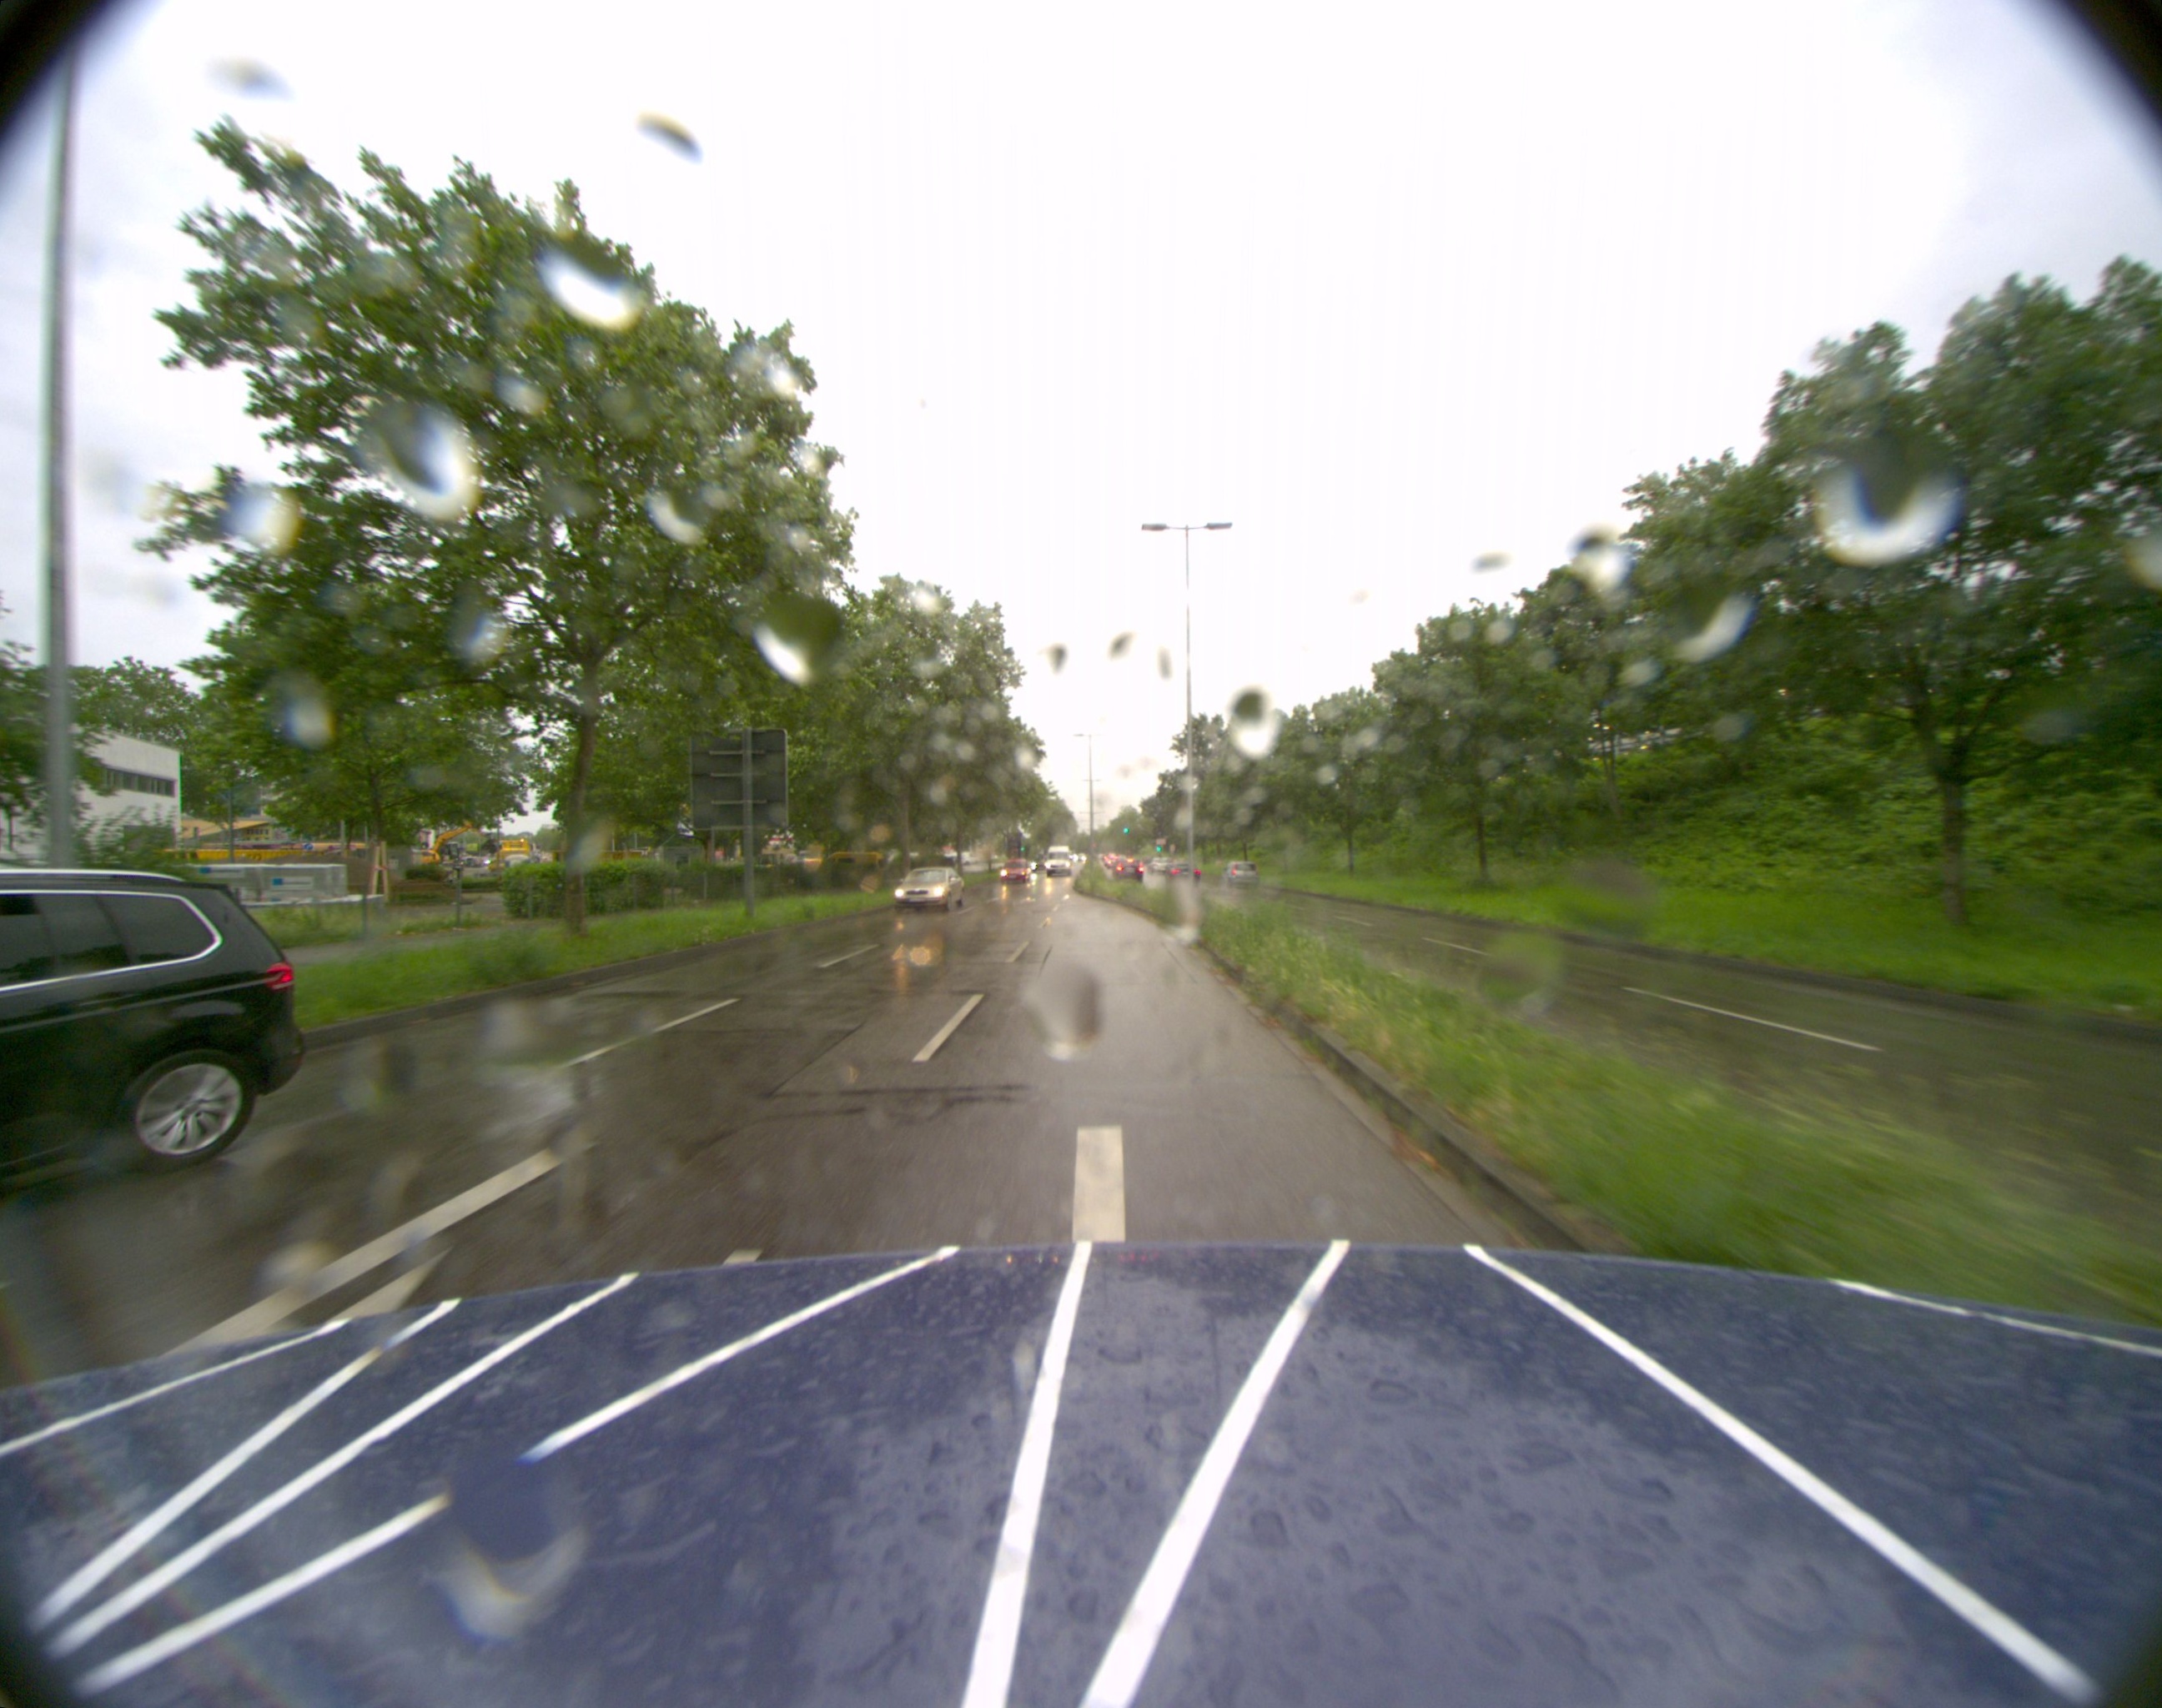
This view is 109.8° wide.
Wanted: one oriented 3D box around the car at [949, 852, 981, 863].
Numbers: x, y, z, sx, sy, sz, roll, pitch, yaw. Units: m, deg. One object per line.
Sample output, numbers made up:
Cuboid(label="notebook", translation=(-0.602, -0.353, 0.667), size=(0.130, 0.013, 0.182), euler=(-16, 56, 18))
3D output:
Cuboid(label="car", translation=(-17.936, 0.466, 117.541), size=(4.470, 1.663, 1.863), euler=(0, 1, -37))

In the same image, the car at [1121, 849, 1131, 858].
Cuboid(label="car", translation=(9.471, -0.089, 160.994), size=(1.998, 1.678, 4.709), euler=(1, 0, 2))

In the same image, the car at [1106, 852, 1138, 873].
Cuboid(label="car", translation=(3.251, 0.620, 60.920), size=(1.914, 1.565, 4.706), euler=(1, 0, -5))

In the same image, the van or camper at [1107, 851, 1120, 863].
Cuboid(label="van or camper", translation=(4.879, 0.454, 115.602), size=(1.733, 1.732, 3.999), euler=(2, 1, 0))

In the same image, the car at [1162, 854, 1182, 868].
Cuboid(label="car", translation=(10.273, 0.757, 86.325), size=(1.840, 1.493, 4.440), euler=(1, 0, 2))

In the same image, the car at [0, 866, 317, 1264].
Cuboid(label="car", translation=(-5.712, 0.979, 2.607), size=(1.861, 1.716, 4.190), euler=(-2, 1, 0))

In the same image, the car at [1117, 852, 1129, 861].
Cuboid(label="car", translation=(7.719, 0.425, 140.602), size=(1.998, 1.678, 4.709), euler=(1, 0, 2))

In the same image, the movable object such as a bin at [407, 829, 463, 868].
Cuboid(label="movable object such as a bin", translation=(-62.554, -0.542, 73.621), size=(3.602, 3.605, 3.326), euler=(0, 1, 36))

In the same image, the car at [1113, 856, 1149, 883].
Cuboid(label="car", translation=(3.206, 0.988, 49.647), size=(1.829, 1.566, 4.358), euler=(2, 1, -2))

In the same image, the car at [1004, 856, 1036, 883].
Cuboid(label="car", translation=(-4.192, 1.046, 53.134), size=(1.699, 1.759, 4.558), euler=(-1, 0, 2))

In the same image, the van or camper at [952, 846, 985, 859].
Cuboid(label="van or camper", translation=(-18.007, -0.301, 121.583), size=(4.917, 2.076, 1.863), euler=(0, 1, -37))

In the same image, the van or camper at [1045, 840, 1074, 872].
Cuboid(label="van or camper", translation=(-1.824, 0.136, 66.205), size=(2.100, 2.579, 4.776), euler=(-2, 0, 2))

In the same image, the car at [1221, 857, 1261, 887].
Cuboid(label="car", translation=(9.400, 1.011, 44.851), size=(1.700, 1.608, 3.848), euler=(-1, 0, 2))

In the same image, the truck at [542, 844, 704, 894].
Cuboid(label="truck", translation=(-32.395, 0.914, 54.063), size=(9.517, 3.015, 3.073), euler=(-3, 2, -34))

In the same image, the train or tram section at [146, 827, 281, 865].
Cuboid(label="train or tram section", translation=(-87.651, -0.884, 77.024), size=(8.546, 3.500, 2.394), euler=(-3, 2, -37))

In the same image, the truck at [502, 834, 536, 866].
Cuboid(label="truck", translation=(-62.316, -0.480, 84.428), size=(2.501, 3.327, 9.444), euler=(-3, 2, -34))

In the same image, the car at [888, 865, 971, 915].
Cuboid(label="car", translation=(-5.016, 1.160, 25.738), size=(1.807, 1.422, 4.386), euler=(-1, 1, 2))

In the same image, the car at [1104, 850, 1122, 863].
Cuboid(label="car", translation=(4.327, 0.308, 102.861), size=(1.904, 1.604, 4.110), euler=(2, 1, -3))

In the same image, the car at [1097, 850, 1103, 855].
Cuboid(label="car", translation=(6.326, -0.525, 250.035), size=(1.780, 1.552, 3.773), euler=(-2, 1, 2))

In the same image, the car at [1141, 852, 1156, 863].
Cuboid(label="car", translation=(10.197, 0.537, 115.096), size=(1.998, 1.678, 4.709), euler=(1, 0, 2))

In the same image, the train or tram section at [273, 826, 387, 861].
Cuboid(label="train or tram section", translation=(-80.890, -1.202, 82.145), size=(8.385, 3.500, 2.394), euler=(-3, 2, -37))

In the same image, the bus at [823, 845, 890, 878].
Cuboid(label="bus", translation=(-18.509, 0.613, 62.805), size=(4.804, 2.632, 2.000), euler=(-1, 1, 2))

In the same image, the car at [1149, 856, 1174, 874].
Cuboid(label="car", translation=(7.521, 1.001, 71.126), size=(1.913, 1.565, 4.709), euler=(2, 0, 2))

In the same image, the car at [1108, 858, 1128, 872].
Cuboid(label="car", translation=(4.236, 1.260, 88.623), size=(1.914, 1.565, 4.707), euler=(1, 0, -2))

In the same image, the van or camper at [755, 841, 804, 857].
Cuboid(label="van or camper", translation=(-63.247, -1.111, 159.453), size=(8.994, 3.140, 2.979), euler=(-3, 2, -34))

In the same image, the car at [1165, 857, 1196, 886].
Cuboid(label="car", translation=(6.027, 1.040, 46.316), size=(1.724, 1.608, 4.347), euler=(-1, 1, 6))

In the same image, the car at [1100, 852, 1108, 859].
Cuboid(label="car", translation=(5.948, 0.308, 199.050), size=(1.998, 1.678, 4.709), euler=(1, 0, 2))
